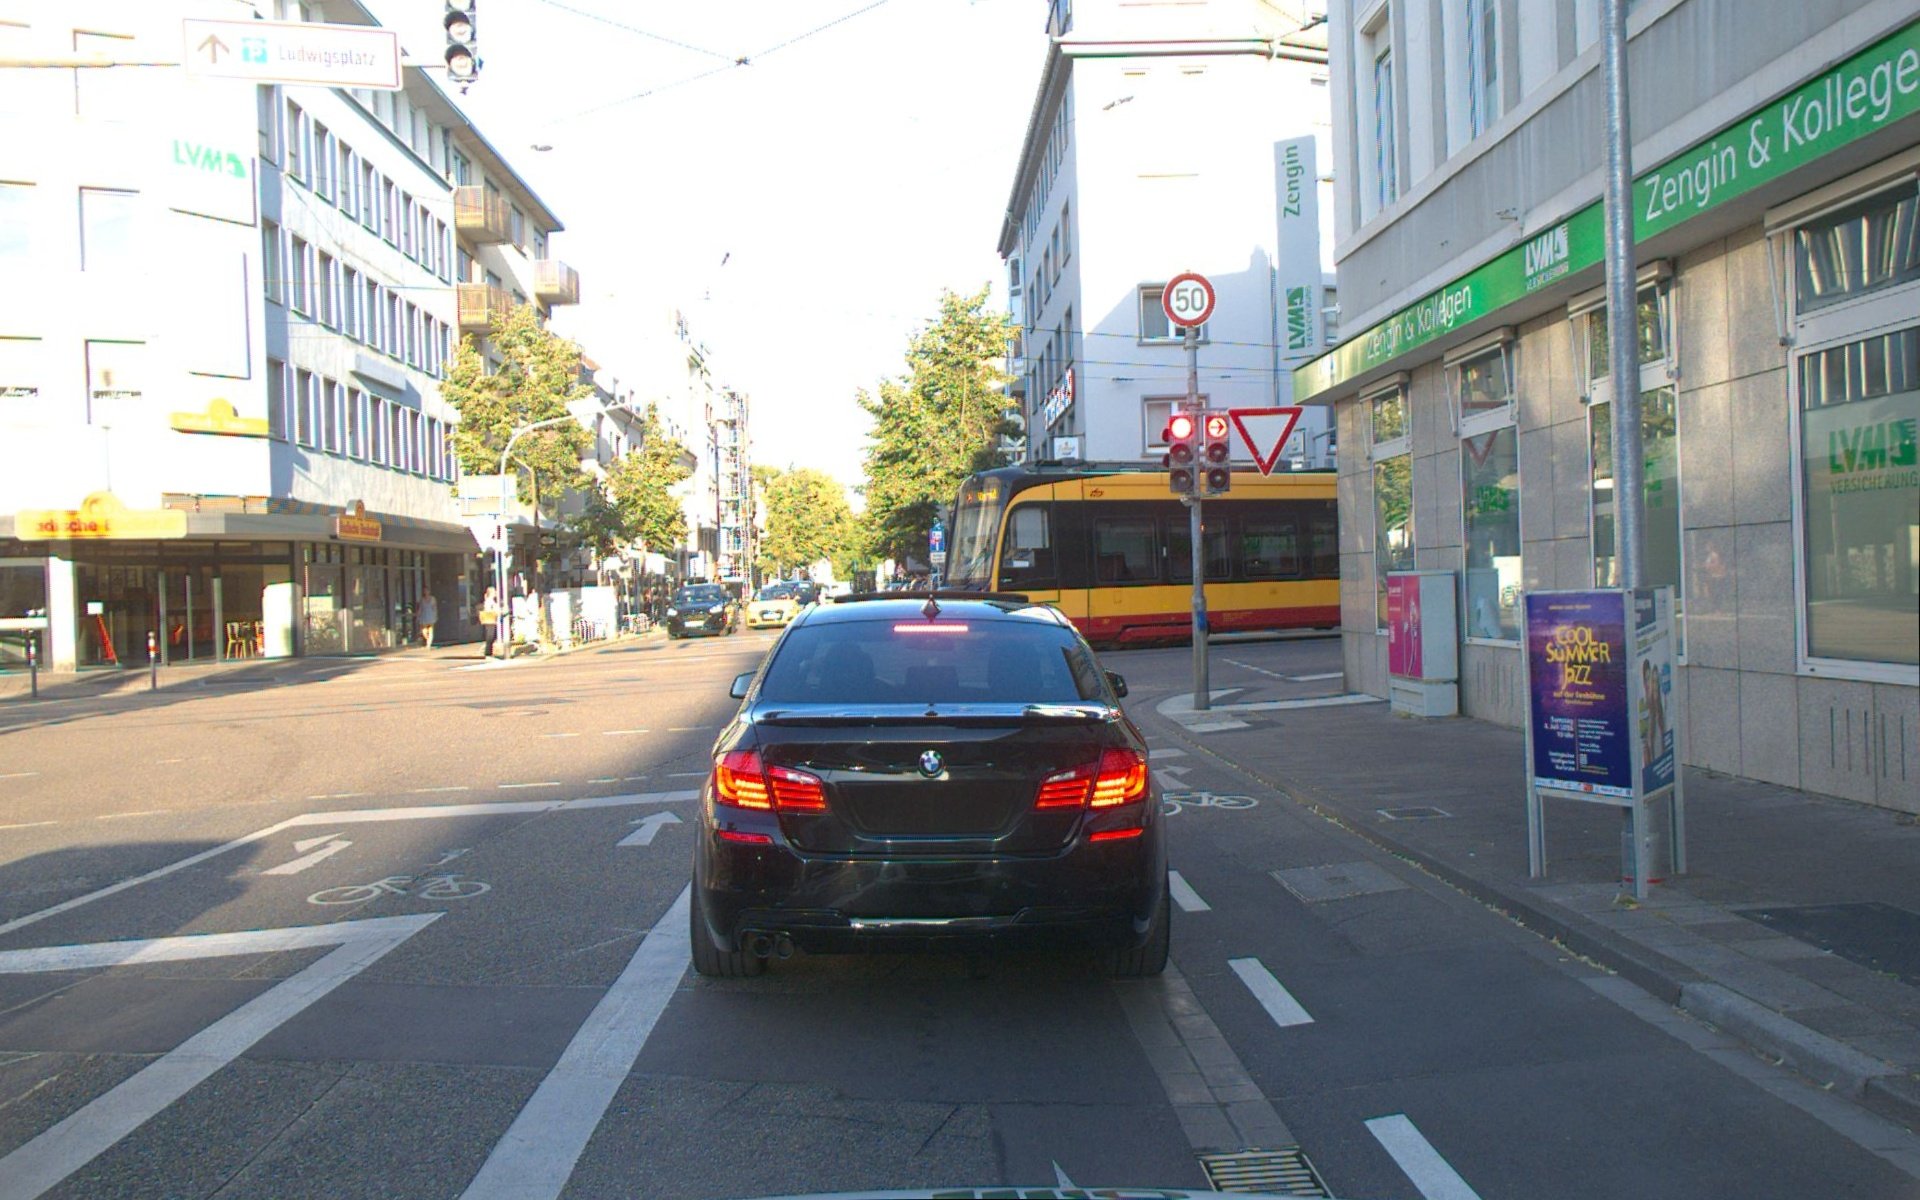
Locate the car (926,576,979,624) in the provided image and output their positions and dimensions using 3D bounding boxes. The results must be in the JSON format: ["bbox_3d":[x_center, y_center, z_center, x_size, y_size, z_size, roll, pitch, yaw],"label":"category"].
[{"bbox_3d":[-0.275,-0.003,54.585,1.593,1.497,3.393,-1,0,-3],"label":"car"}]

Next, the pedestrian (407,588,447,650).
[{"bbox_3d":[-14.968,0.528,46.441,0.807,1.705,0.871,-2,0,-3],"label":"pedestrian"}]

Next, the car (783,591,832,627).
[{"bbox_3d":[-5.958,0.326,64.329,1.701,1.315,3.993,-2,1,-8],"label":"car"}]

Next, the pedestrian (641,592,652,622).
[{"bbox_3d":[-15.525,0.351,81.813,0.435,1.441,0.525,-2,0,-4],"label":"pedestrian"}]

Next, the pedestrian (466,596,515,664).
[{"bbox_3d":[-11.096,0.696,39.096,0.927,1.564,0.907,-2,0,-6],"label":"pedestrian"}]

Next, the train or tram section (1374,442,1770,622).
[{"bbox_3d":[14.850,-1.679,39.699,10.319,3.877,3.049,-3,1,-31],"label":"train or tram section"}]

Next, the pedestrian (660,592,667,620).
[{"bbox_3d":[-14.727,0.285,82.119,0.301,1.383,0.284,-2,0,-11],"label":"pedestrian"}]

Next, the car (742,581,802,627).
[{"bbox_3d":[-6.577,0.116,57.561,1.956,1.467,3.993,-2,1,-8],"label":"car"}]

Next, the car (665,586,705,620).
[{"bbox_3d":[-13.066,0.128,78.809,1.701,1.487,3.993,-2,1,-8],"label":"car"}]

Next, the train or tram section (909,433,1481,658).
[{"bbox_3d":[5.148,-1.201,33.658,12.498,3.932,3.047,-3,1,-33],"label":"train or tram section"}]

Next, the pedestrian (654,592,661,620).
[{"bbox_3d":[-15.006,0.290,81.993,0.301,1.383,0.284,-2,0,-11],"label":"pedestrian"}]

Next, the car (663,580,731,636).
[{"bbox_3d":[-8.255,0.228,52.094,1.956,1.646,3.993,-2,1,-8],"label":"car"}]

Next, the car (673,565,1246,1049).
[{"bbox_3d":[-0.112,0.648,7.631,1.865,1.567,4.447,0,1,-3],"label":"car"}]

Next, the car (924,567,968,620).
[{"bbox_3d":[-0.540,-0.223,60.980,1.393,1.887,3.049,-1,0,-5],"label":"car"}]
